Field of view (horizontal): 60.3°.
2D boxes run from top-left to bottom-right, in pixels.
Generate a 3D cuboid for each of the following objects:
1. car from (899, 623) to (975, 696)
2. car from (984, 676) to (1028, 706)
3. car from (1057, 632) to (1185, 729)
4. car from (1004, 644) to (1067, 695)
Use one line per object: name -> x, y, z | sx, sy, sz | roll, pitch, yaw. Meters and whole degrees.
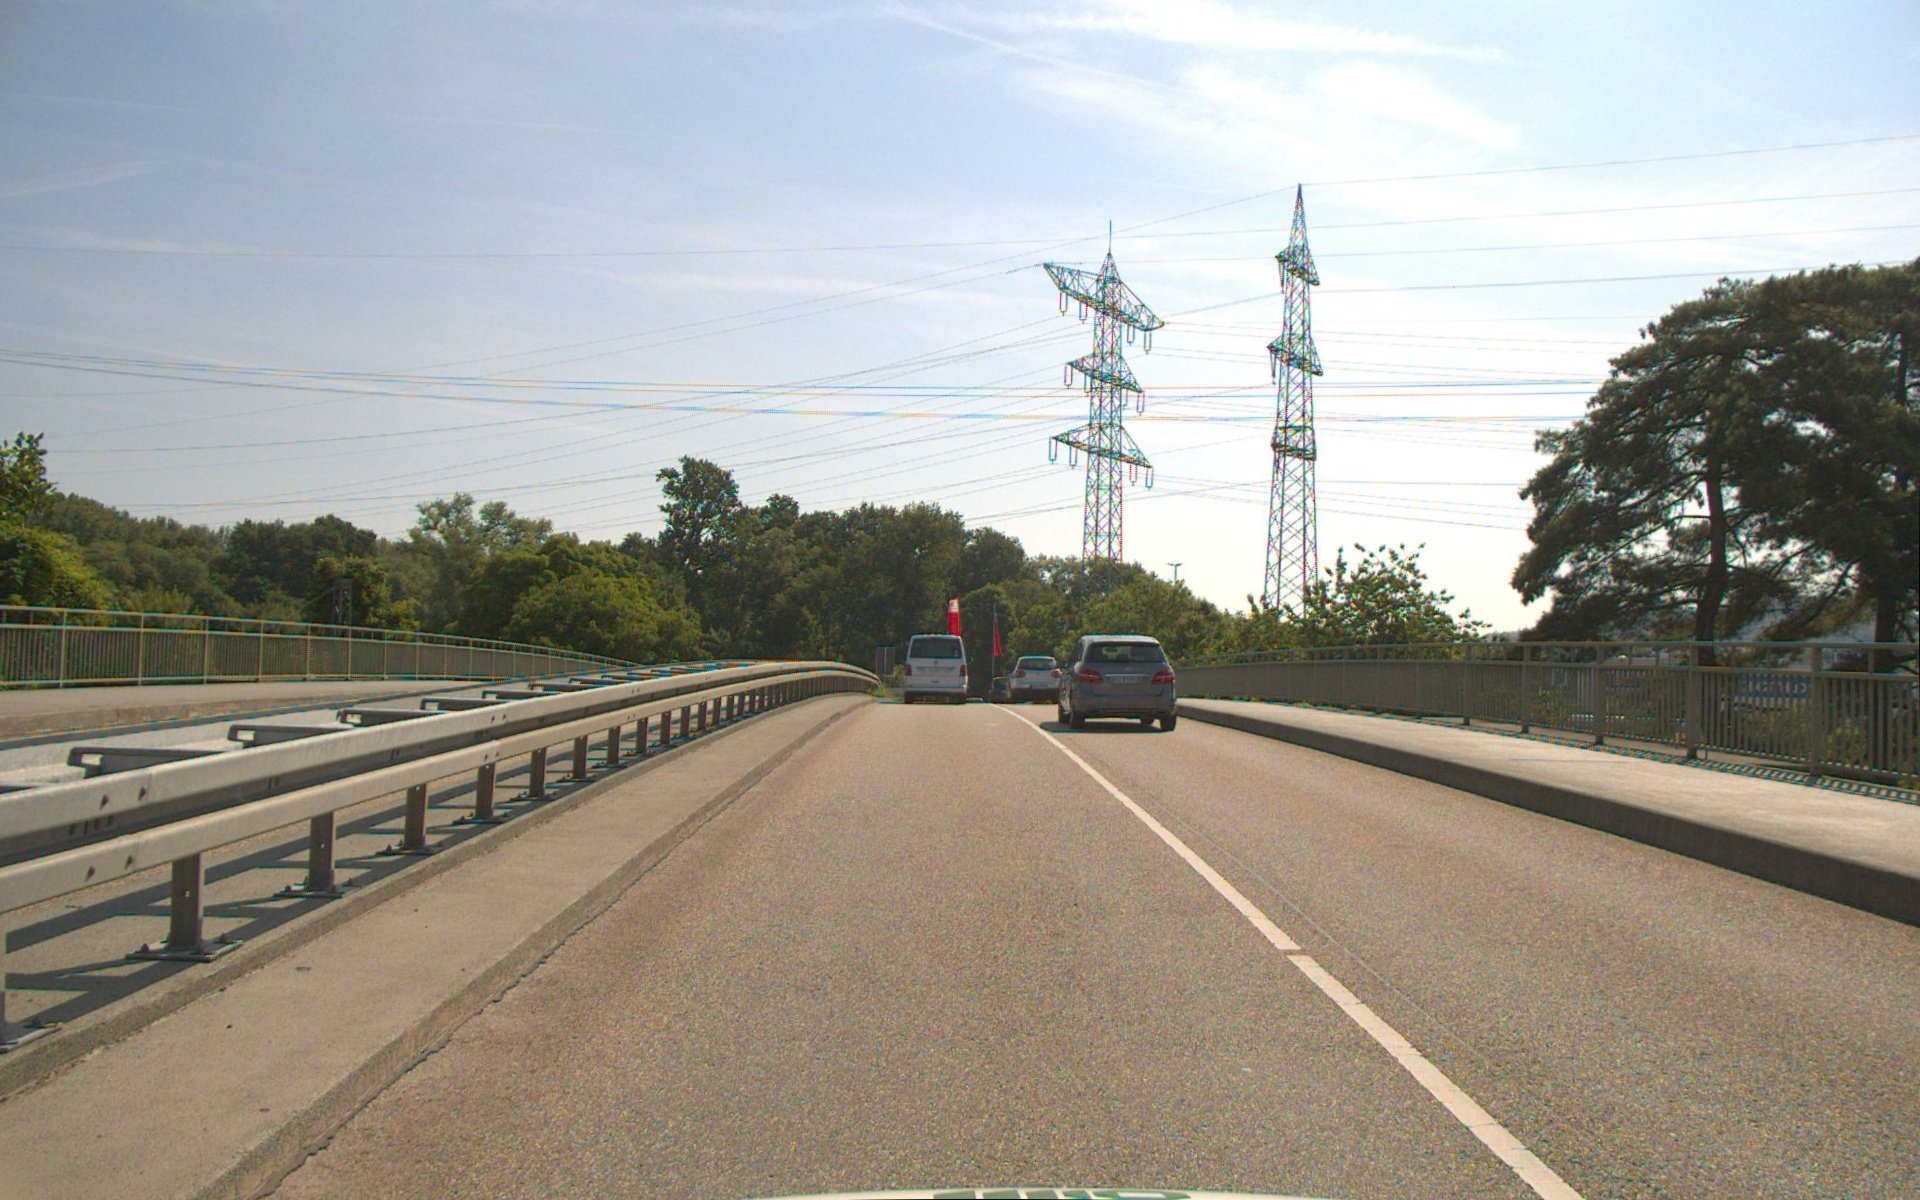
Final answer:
car -> -0.634, 1.734, 49.047 | 1.996, 2.049, 4.001 | 0, -1, 3
car -> 2.291, 4.545, 82.269 | 1.735, 1.355, 3.742 | -1, -5, 8
car -> 2.706, 1.355, 28.623 | 1.818, 1.556, 4.143 | 0, -2, 0
car -> 2.376, 2.234, 52.634 | 1.818, 1.556, 4.143 | 0, -3, 0
